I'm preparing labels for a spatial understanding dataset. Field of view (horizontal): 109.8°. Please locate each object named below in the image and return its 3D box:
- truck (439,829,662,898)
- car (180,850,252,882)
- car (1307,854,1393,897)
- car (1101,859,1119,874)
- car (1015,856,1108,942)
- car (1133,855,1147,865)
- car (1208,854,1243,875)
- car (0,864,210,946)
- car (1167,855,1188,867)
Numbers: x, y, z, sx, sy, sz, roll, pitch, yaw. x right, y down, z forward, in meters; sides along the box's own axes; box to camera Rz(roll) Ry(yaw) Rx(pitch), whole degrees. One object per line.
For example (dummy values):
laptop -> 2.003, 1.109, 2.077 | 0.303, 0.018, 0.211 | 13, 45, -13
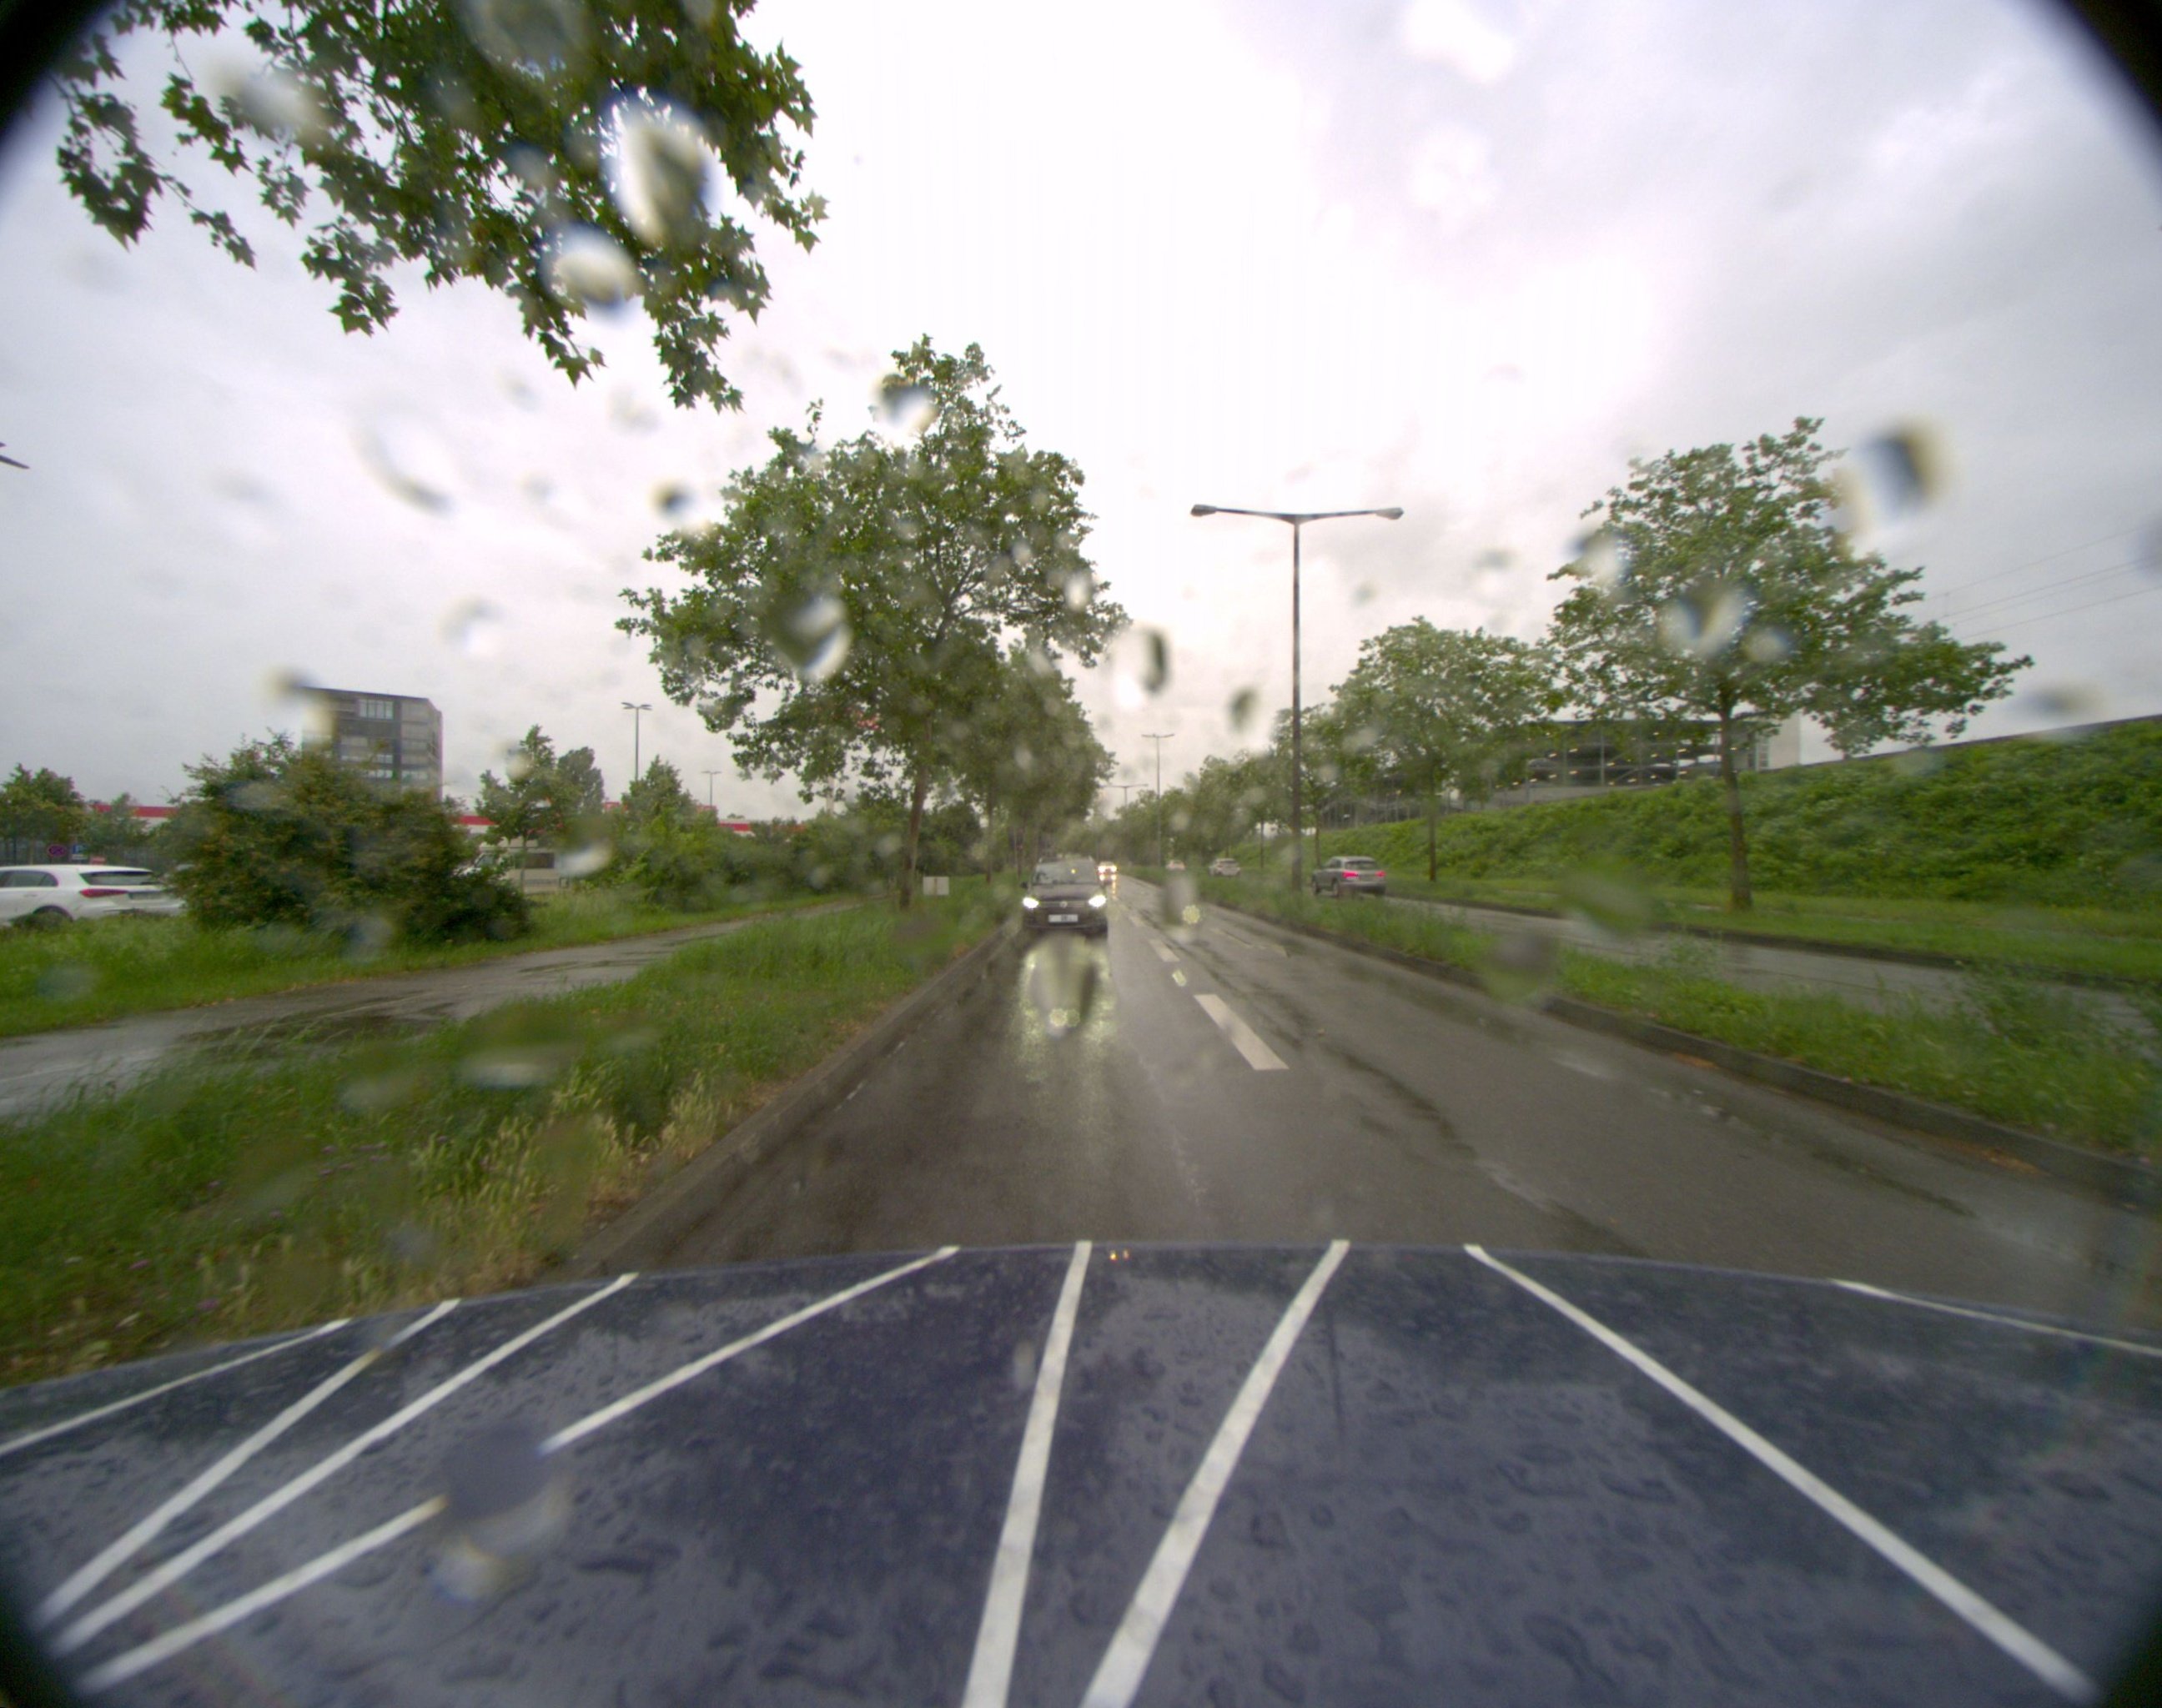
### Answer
truck -> -19.851, 0.312, 28.752 | 6.552, 2.291, 2.219 | -2, 1, -6
car -> -48.430, 0.640, 42.635 | 2.004, 1.707, 3.989 | 0, 0, -39
car -> 10.915, 0.818, 31.187 | 1.861, 1.580, 4.518 | 2, 0, 0
car -> 3.139, 1.316, 82.333 | 1.729, 1.470, 4.000 | -2, 0, 1
car -> -0.333, 0.902, 17.488 | 1.788, 1.605, 4.717 | -2, 0, 2
car -> 9.448, 0.968, 122.239 | 1.936, 1.436, 3.707 | -1, 0, 0
car -> 10.967, 0.759, 57.791 | 1.861, 1.579, 4.518 | 0, 0, 1
car -> -19.744, 0.961, 14.440 | 3.998, 1.357, 1.867 | -2, 1, -3
car -> 11.443, 0.828, 90.291 | 1.936, 1.436, 4.657 | -1, 0, 0
